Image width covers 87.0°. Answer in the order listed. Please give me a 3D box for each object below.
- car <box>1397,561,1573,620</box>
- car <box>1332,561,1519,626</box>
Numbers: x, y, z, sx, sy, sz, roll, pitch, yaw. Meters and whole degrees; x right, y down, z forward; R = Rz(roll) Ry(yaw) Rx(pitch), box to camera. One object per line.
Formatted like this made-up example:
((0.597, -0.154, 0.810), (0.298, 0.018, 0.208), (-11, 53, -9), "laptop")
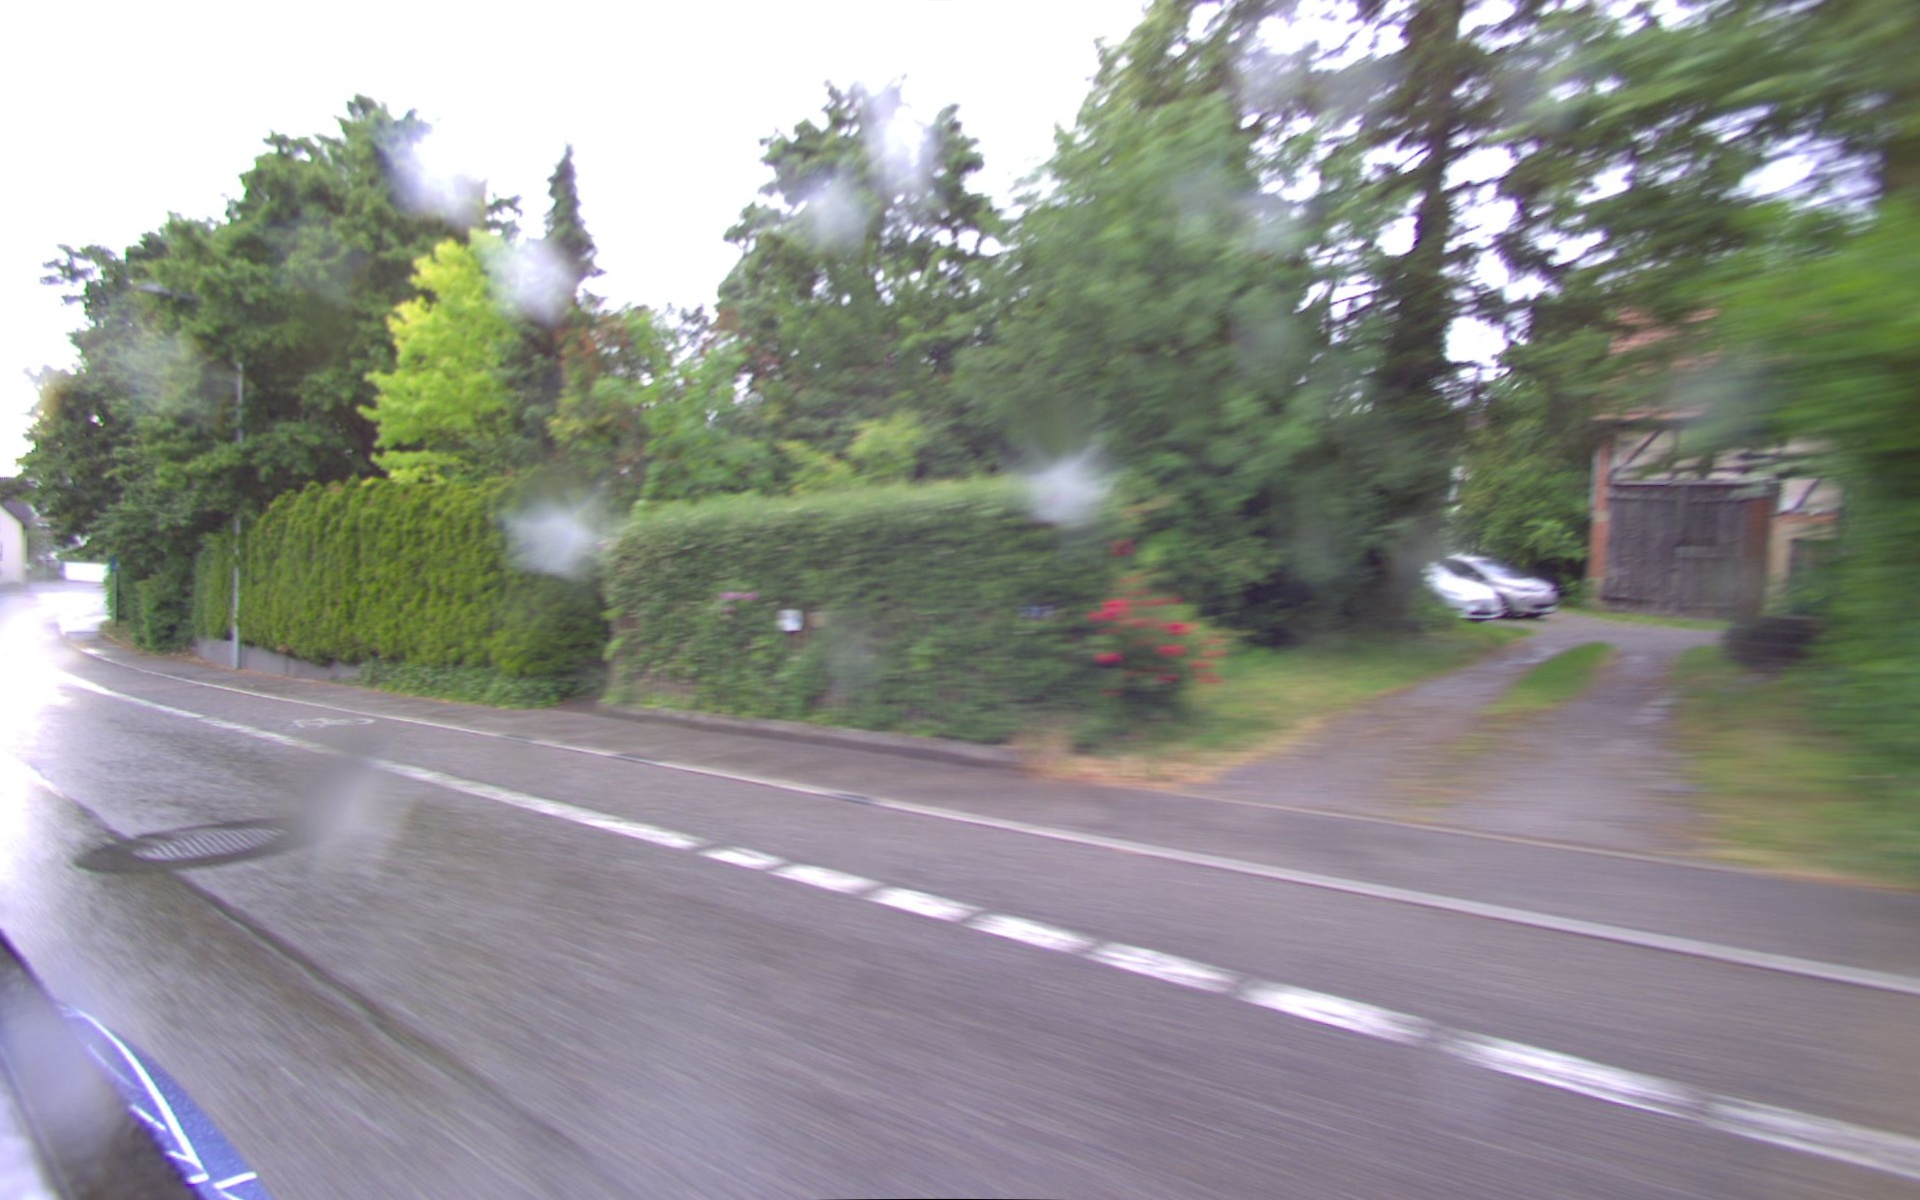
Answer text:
((13.741, -0.310, 26.695), (1.511, 1.373, 3.857), (-2, 3, -31), "car")
((11.129, -0.223, 24.459), (1.608, 1.381, 3.857), (-2, 3, -31), "car")
